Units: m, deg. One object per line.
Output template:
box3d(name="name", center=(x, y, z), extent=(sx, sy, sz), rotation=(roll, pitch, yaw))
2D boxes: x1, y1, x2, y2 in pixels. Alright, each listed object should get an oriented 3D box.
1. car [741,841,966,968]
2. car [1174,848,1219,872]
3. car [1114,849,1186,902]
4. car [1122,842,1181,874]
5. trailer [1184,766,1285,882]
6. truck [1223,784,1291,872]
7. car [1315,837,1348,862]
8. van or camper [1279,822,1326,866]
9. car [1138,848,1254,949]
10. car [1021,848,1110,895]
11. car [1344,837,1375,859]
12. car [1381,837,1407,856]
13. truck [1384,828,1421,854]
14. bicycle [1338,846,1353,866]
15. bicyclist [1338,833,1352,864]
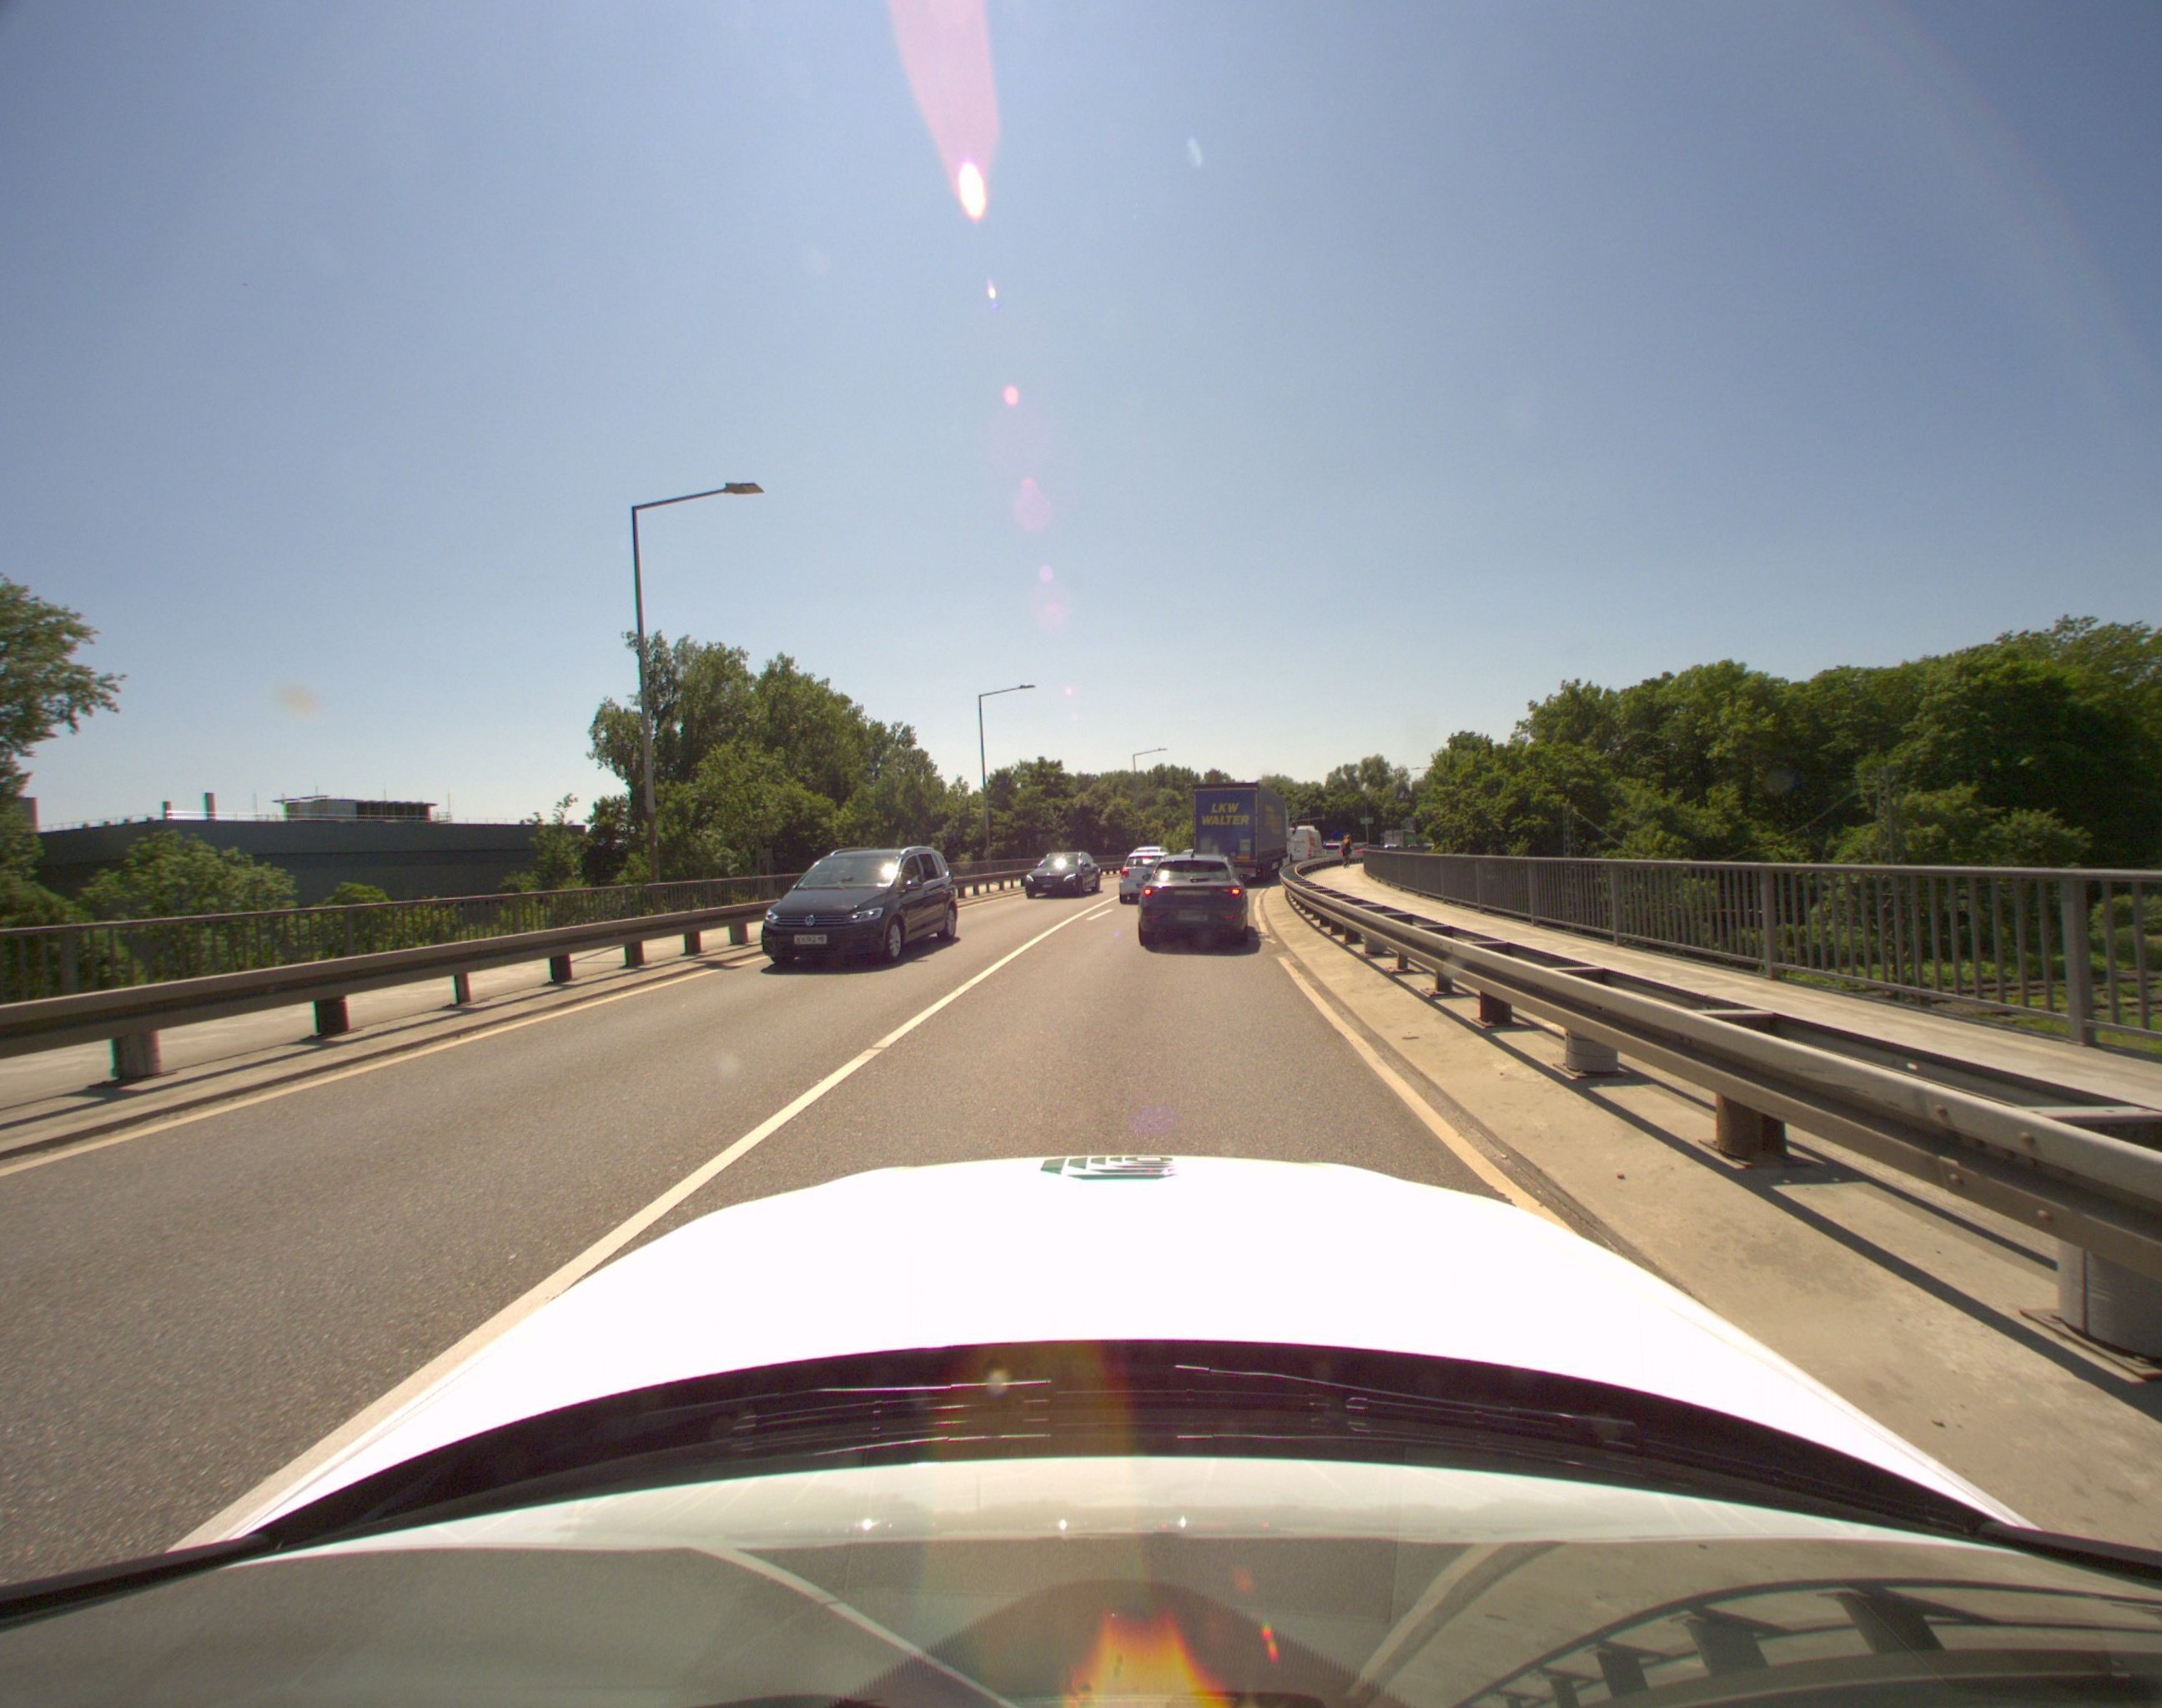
box3d(name="car", center=(-3.278, 0.649, 12.730), extent=(1.762, 1.625, 4.263), rotation=(-1, 0, 8))
box3d(name="car", center=(7.299, 0.349, 51.329), extent=(1.681, 1.376, 4.023), rotation=(-2, 0, 25))
box3d(name="car", center=(2.156, 0.578, 24.438), extent=(1.666, 1.411, 3.988), rotation=(0, 1, 12))
box3d(name="car", center=(3.708, 0.171, 42.360), extent=(1.721, 1.580, 4.200), rotation=(-1, 0, 24))
box3d(name="trailer", center=(7.369, -1.233, 37.363), extent=(2.881, 4.418, 12.492), rotation=(0, 1, 18))
box3d(name="truck", center=(9.642, -1.342, 44.163), extent=(2.881, 4.418, 6.587), rotation=(0, 1, 18))
box3d(name="car", center=(19.717, -0.372, 63.959), extent=(1.704, 1.843, 4.025), rotation=(-1, 1, 28))
box3d(name="van or camper", center=(15.098, -0.677, 55.277), extent=(2.135, 2.815, 6.423), rotation=(-1, 1, 24))
box3d(name="car", center=(1.873, 0.645, 13.924), extent=(1.669, 1.456, 3.965), rotation=(-1, 0, 5))
box3d(name="car", center=(-0.424, 0.553, 27.965), extent=(1.758, 1.438, 4.411), rotation=(-1, 0, 16))
box3d(name="car", center=(24.258, -0.526, 70.902), extent=(1.704, 1.802, 4.026), rotation=(-1, 1, 32))
box3d(name="car", center=(32.275, -0.810, 83.972), extent=(1.704, 1.844, 4.026), rotation=(-1, 1, 33))
box3d(name="truck", center=(37.841, -1.535, 95.844), extent=(2.312, 2.873, 5.979), rotation=(-1, 1, 39))
box3d(name="bicycle", center=(14.555, 0.108, 44.807), extent=(0.577, 1.035, 1.493), rotation=(-4, -1, 24))
box3d(name="bicyclist", center=(14.525, -0.296, 44.795), extent=(0.572, 1.683, 0.733), rotation=(-4, -1, 24))
